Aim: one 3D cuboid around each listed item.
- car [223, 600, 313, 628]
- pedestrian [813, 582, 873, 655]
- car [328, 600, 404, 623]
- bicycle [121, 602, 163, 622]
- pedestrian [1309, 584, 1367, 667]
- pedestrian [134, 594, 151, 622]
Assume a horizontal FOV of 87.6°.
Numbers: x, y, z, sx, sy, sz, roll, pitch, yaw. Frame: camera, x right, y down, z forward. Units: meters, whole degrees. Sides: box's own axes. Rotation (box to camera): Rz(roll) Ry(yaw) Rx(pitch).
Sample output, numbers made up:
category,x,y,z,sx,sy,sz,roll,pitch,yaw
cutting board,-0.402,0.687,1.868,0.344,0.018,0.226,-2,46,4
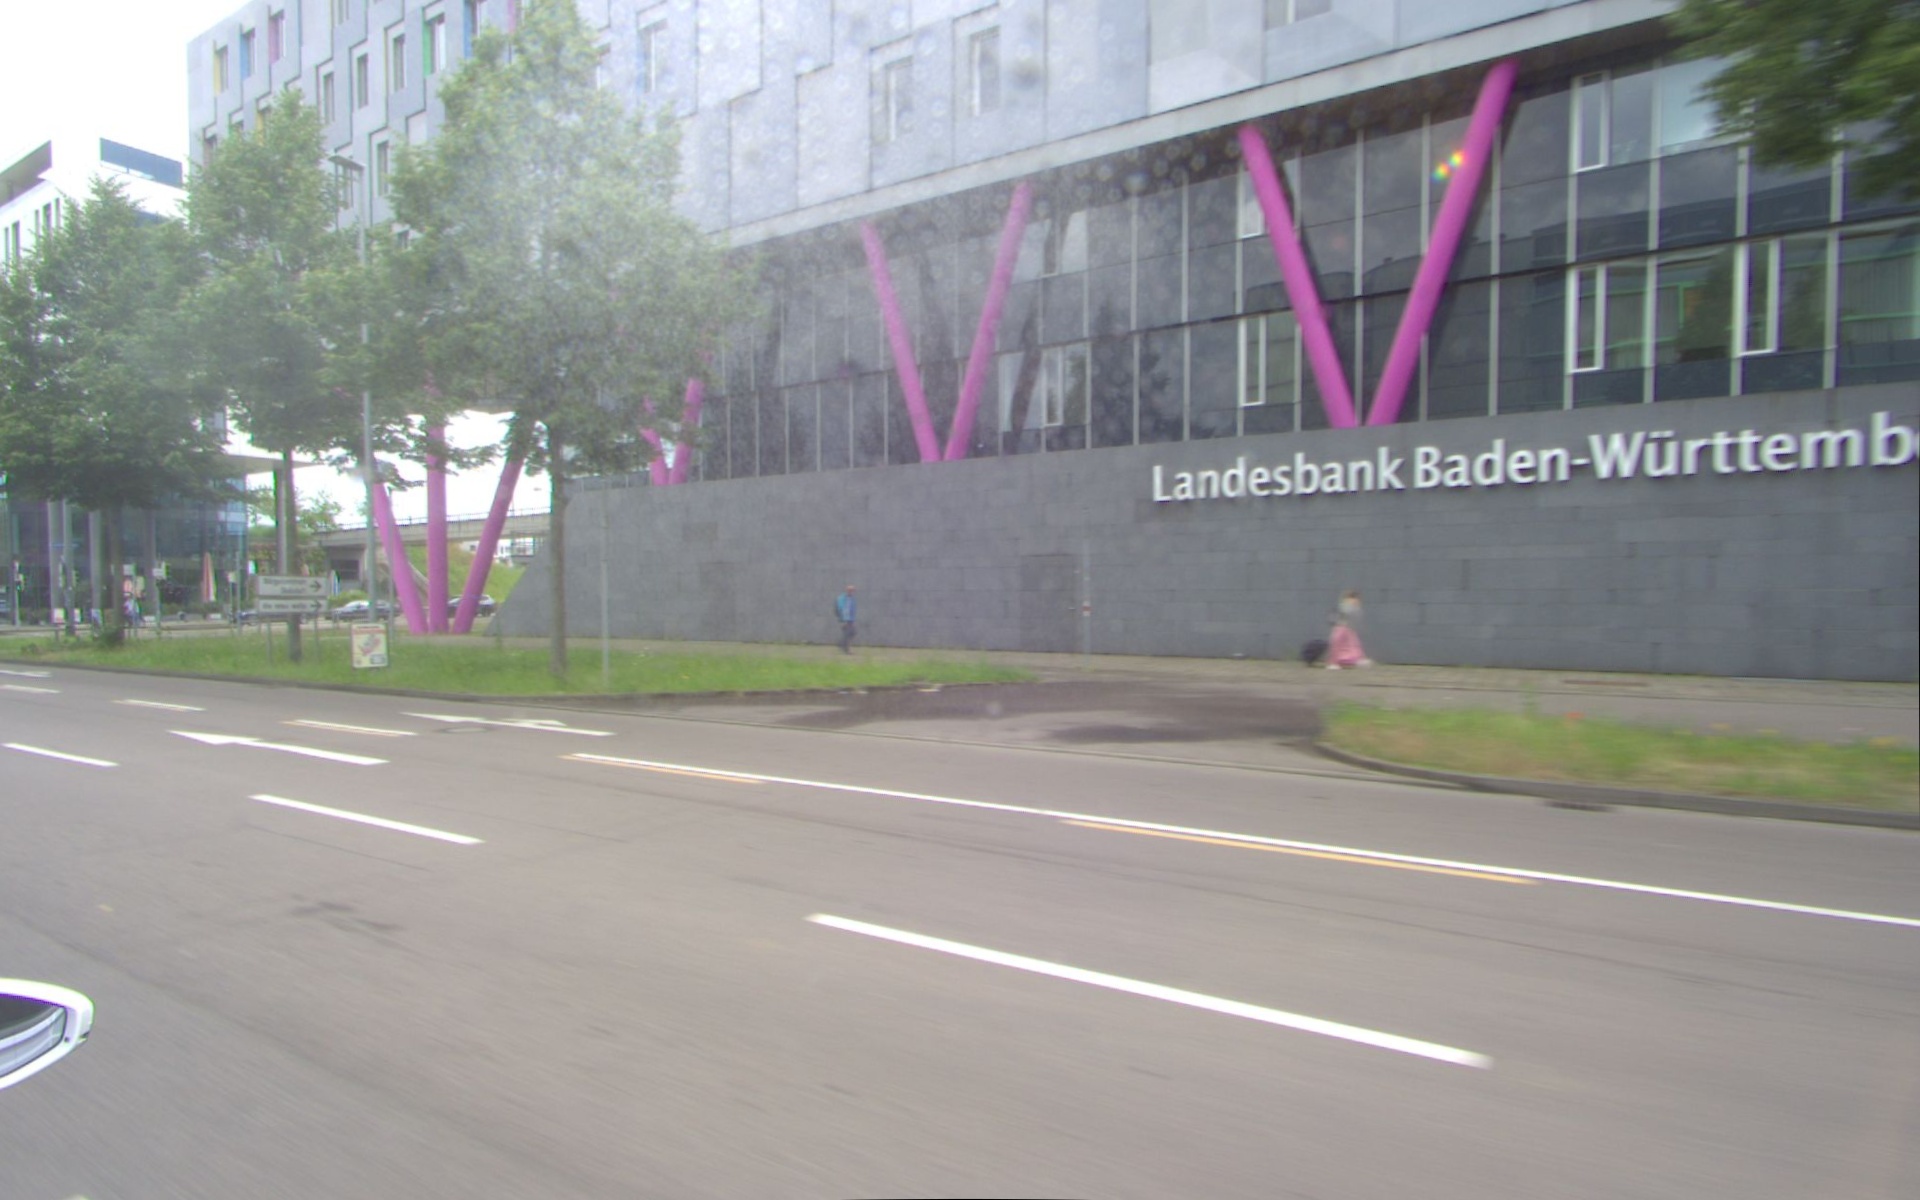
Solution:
category,x,y,z,sx,sy,sz,roll,pitch,yaw
car,-42.813,0.817,62.044,1.733,1.636,4.240,1,1,34
pedestrian,-2.951,0.443,25.309,1.120,1.794,1.049,1,2,33
car,-39.873,0.720,67.313,1.733,1.474,4.070,1,1,34
bicycle,-47.466,0.700,58.145,0.609,1.100,1.787,1,1,34
pedestrian,7.494,0.487,19.848,0.901,1.604,0.782,1,2,33
pedestrian,-47.466,0.437,58.138,0.610,1.626,0.613,1,1,35
